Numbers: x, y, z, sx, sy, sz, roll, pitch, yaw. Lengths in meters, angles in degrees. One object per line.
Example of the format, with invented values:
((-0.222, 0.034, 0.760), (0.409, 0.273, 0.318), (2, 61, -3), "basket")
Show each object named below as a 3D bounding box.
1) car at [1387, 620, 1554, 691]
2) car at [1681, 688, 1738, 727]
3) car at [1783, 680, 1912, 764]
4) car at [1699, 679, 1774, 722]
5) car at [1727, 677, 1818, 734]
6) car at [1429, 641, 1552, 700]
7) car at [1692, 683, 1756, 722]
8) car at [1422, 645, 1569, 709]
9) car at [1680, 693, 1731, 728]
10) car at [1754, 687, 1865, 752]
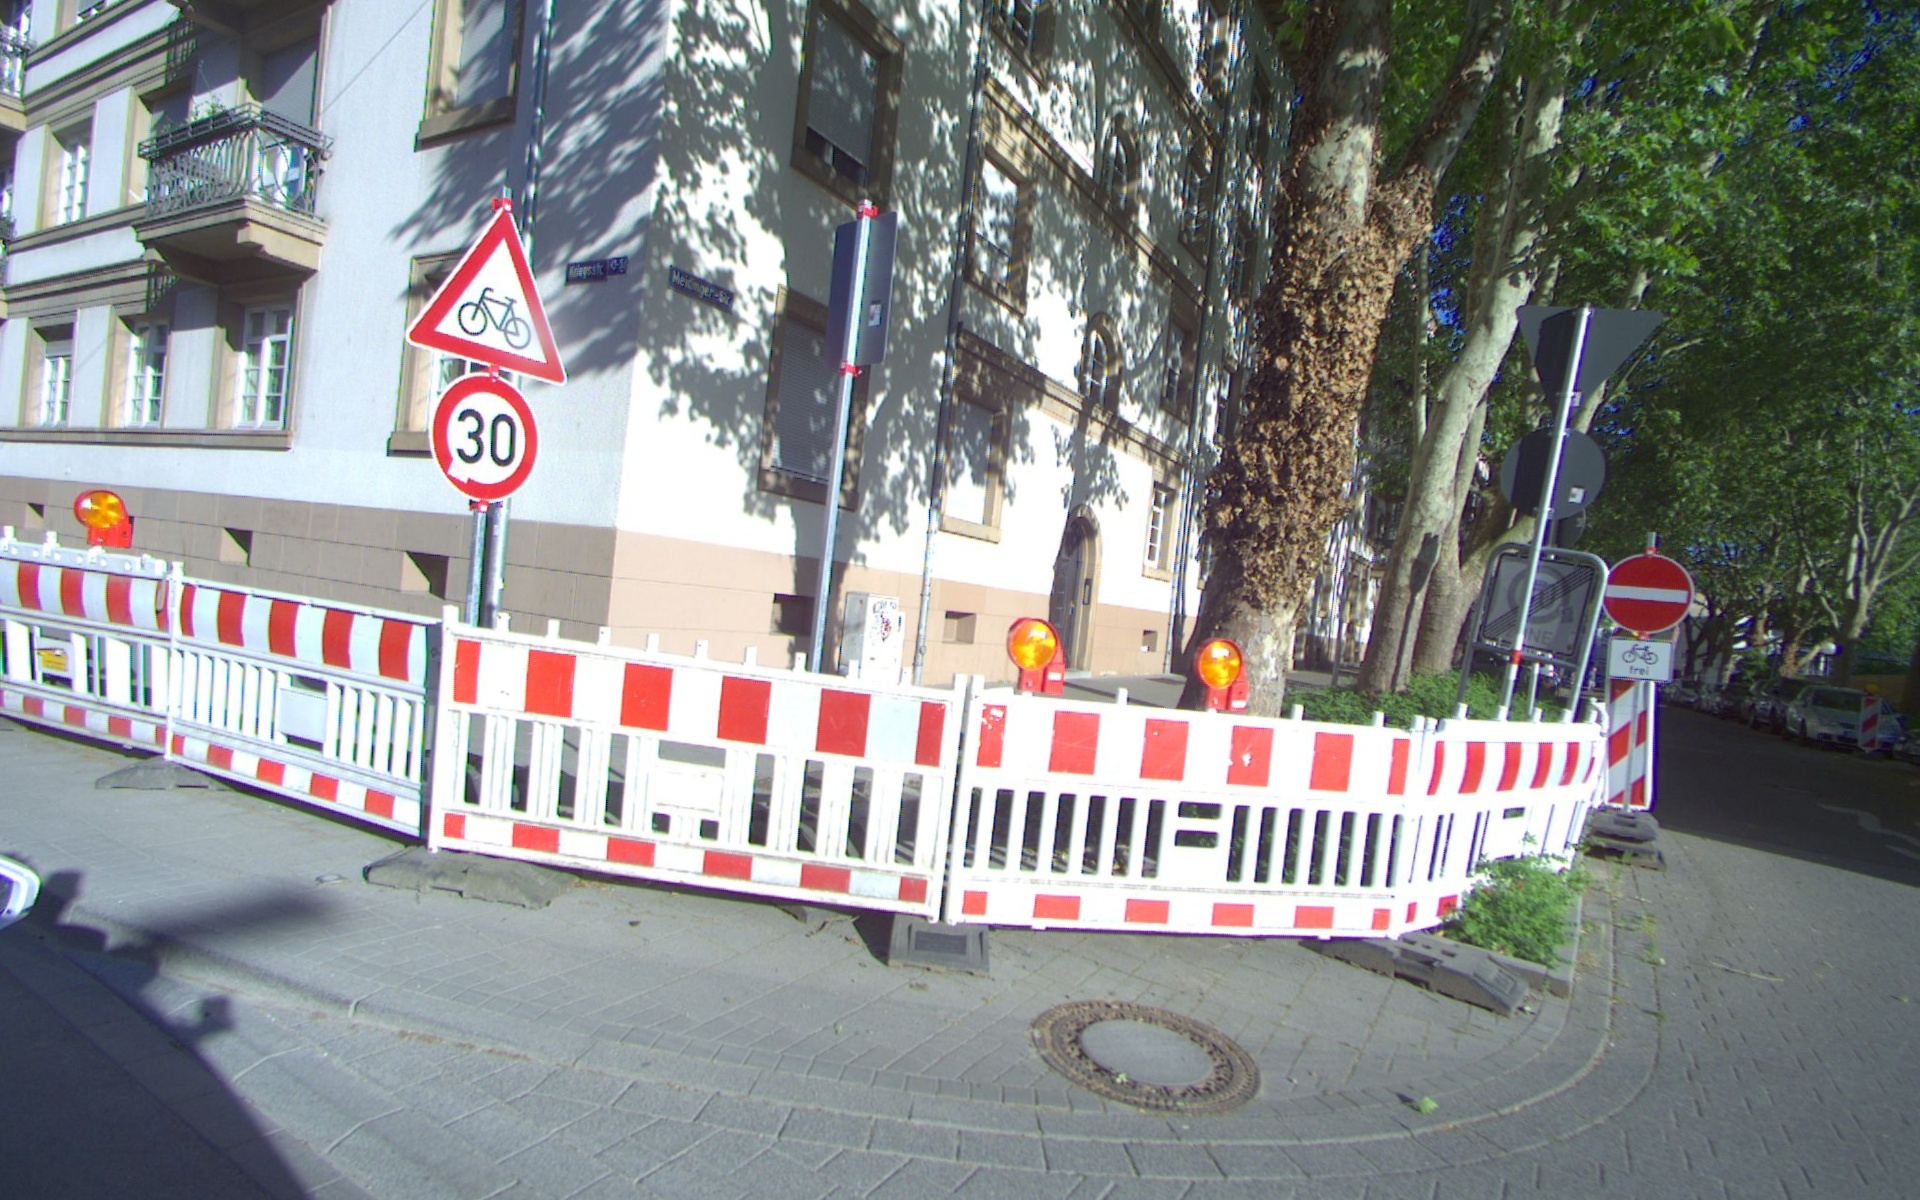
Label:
((15.595, 1.664, 30.772), (4.295, 1.603, 1.867), (6, 1, 32), "car")
((35.138, 4.997, 47.269), (1.700, 1.408, 3.989), (7, 1, 32), "car")
((20.950, 2.804, 23.906), (1.701, 1.549, 3.986), (7, 1, 35), "car")
((28.841, 3.751, 37.451), (1.700, 1.283, 3.992), (7, -1, 32), "car")
((26.695, 3.483, 33.169), (1.700, 1.547, 3.994), (7, -2, 32), "car")
((22.215, 2.919, 42.181), (4.295, 1.862, 1.995), (6, 1, 32), "car")
((32.711, 4.406, 43.136), (1.700, 1.395, 3.994), (6, -2, 32), "car")
((18.633, 2.652, 35.061), (4.295, 1.603, 1.867), (6, 1, 32), "car")
((38.776, 5.700, 52.424), (1.700, 1.408, 3.989), (7, 1, 32), "car")
((23.751, 3.316, 28.274), (1.700, 1.444, 3.993), (7, -1, 32), "car")
